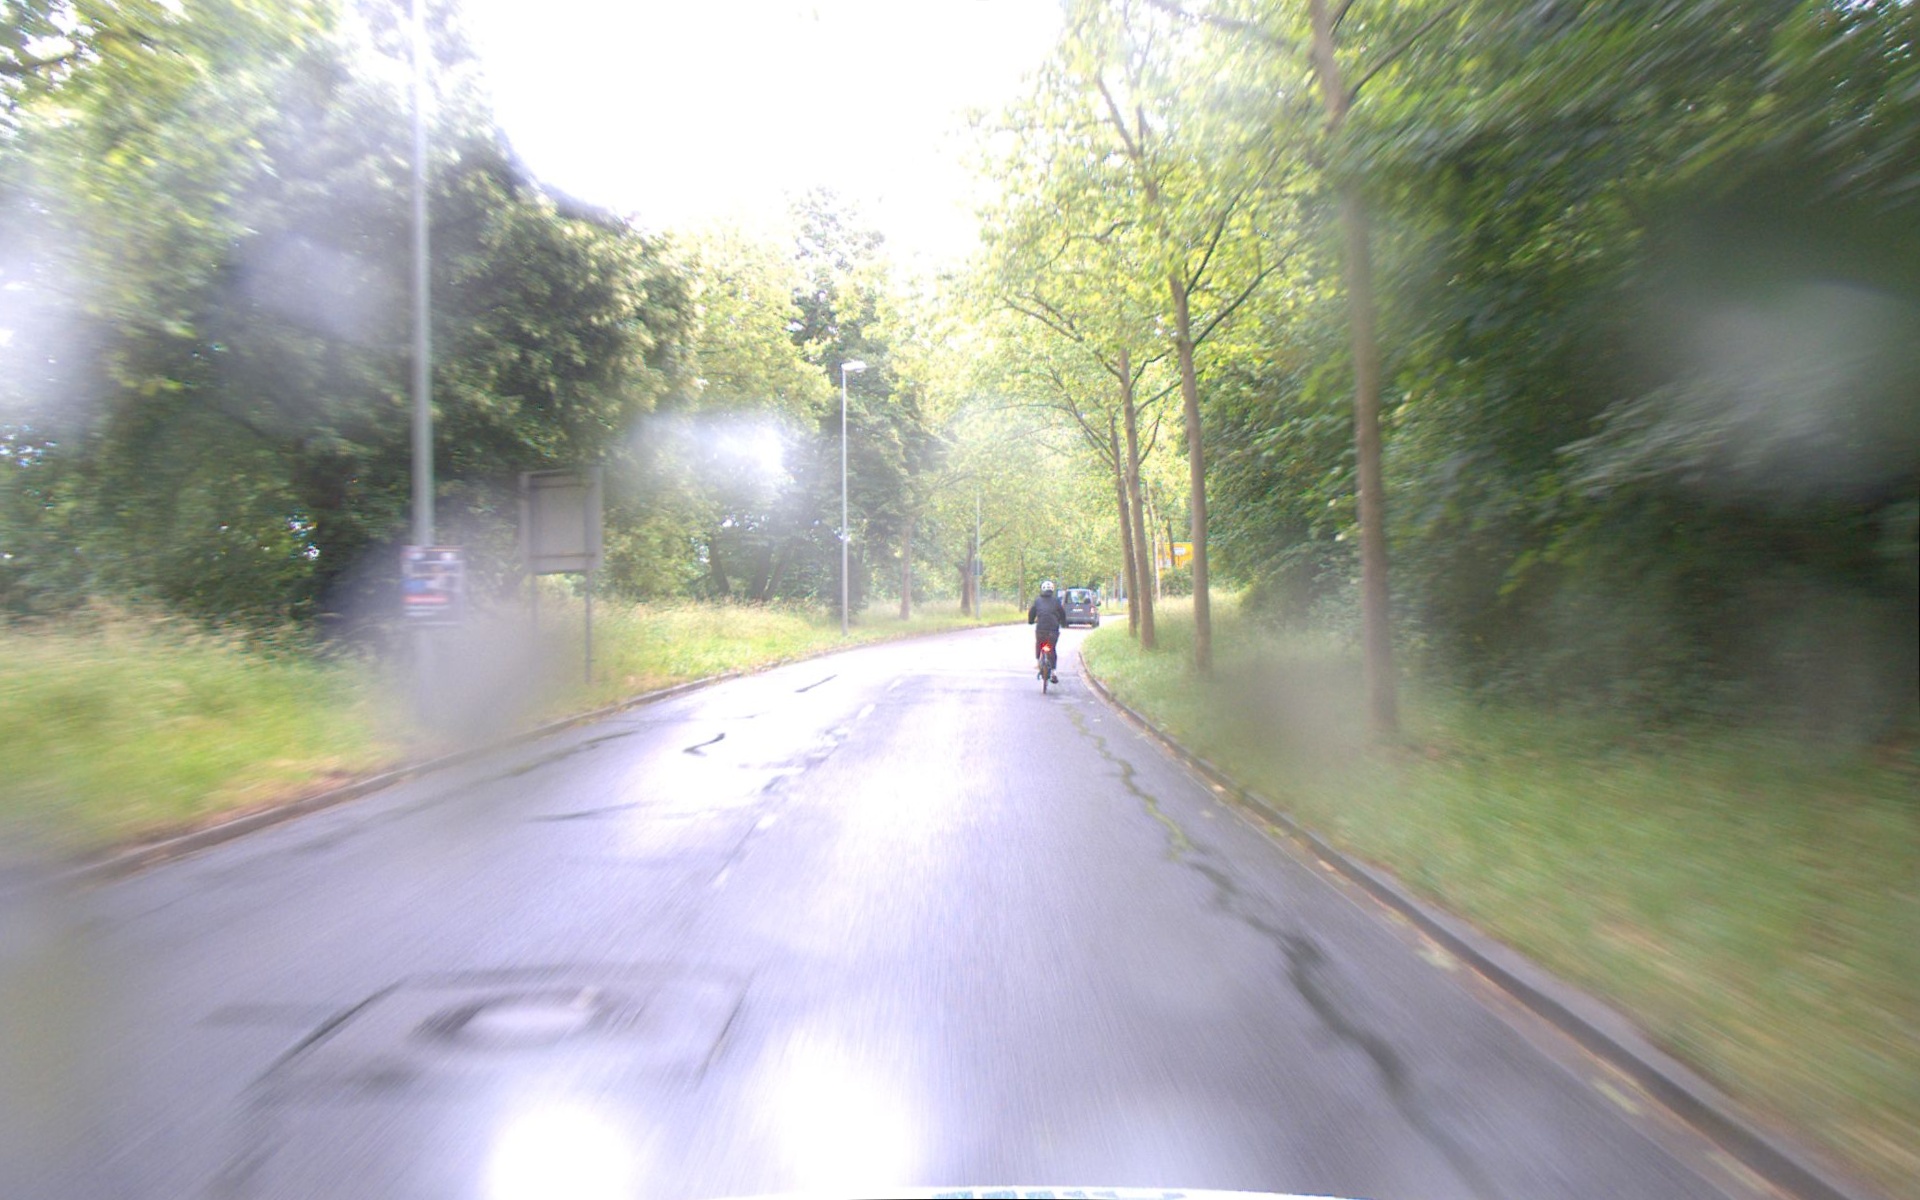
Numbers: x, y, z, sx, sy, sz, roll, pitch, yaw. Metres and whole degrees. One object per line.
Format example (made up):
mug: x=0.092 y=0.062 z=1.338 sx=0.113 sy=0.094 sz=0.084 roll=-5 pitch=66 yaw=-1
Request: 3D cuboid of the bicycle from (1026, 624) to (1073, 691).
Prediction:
bicycle: x=1.443 y=0.914 z=27.024 sx=0.714 sy=0.991 sz=2.173 roll=1 pitch=0 yaw=2

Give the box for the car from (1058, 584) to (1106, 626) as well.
car: x=5.957 y=0.219 z=80.369 sx=1.943 sy=1.959 sz=4.003 roll=0 pitch=0 yaw=10

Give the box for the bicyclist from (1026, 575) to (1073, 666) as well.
bicyclist: x=1.449 y=0.326 z=26.885 sx=0.714 sy=1.435 sz=0.973 roll=1 pitch=0 yaw=2
